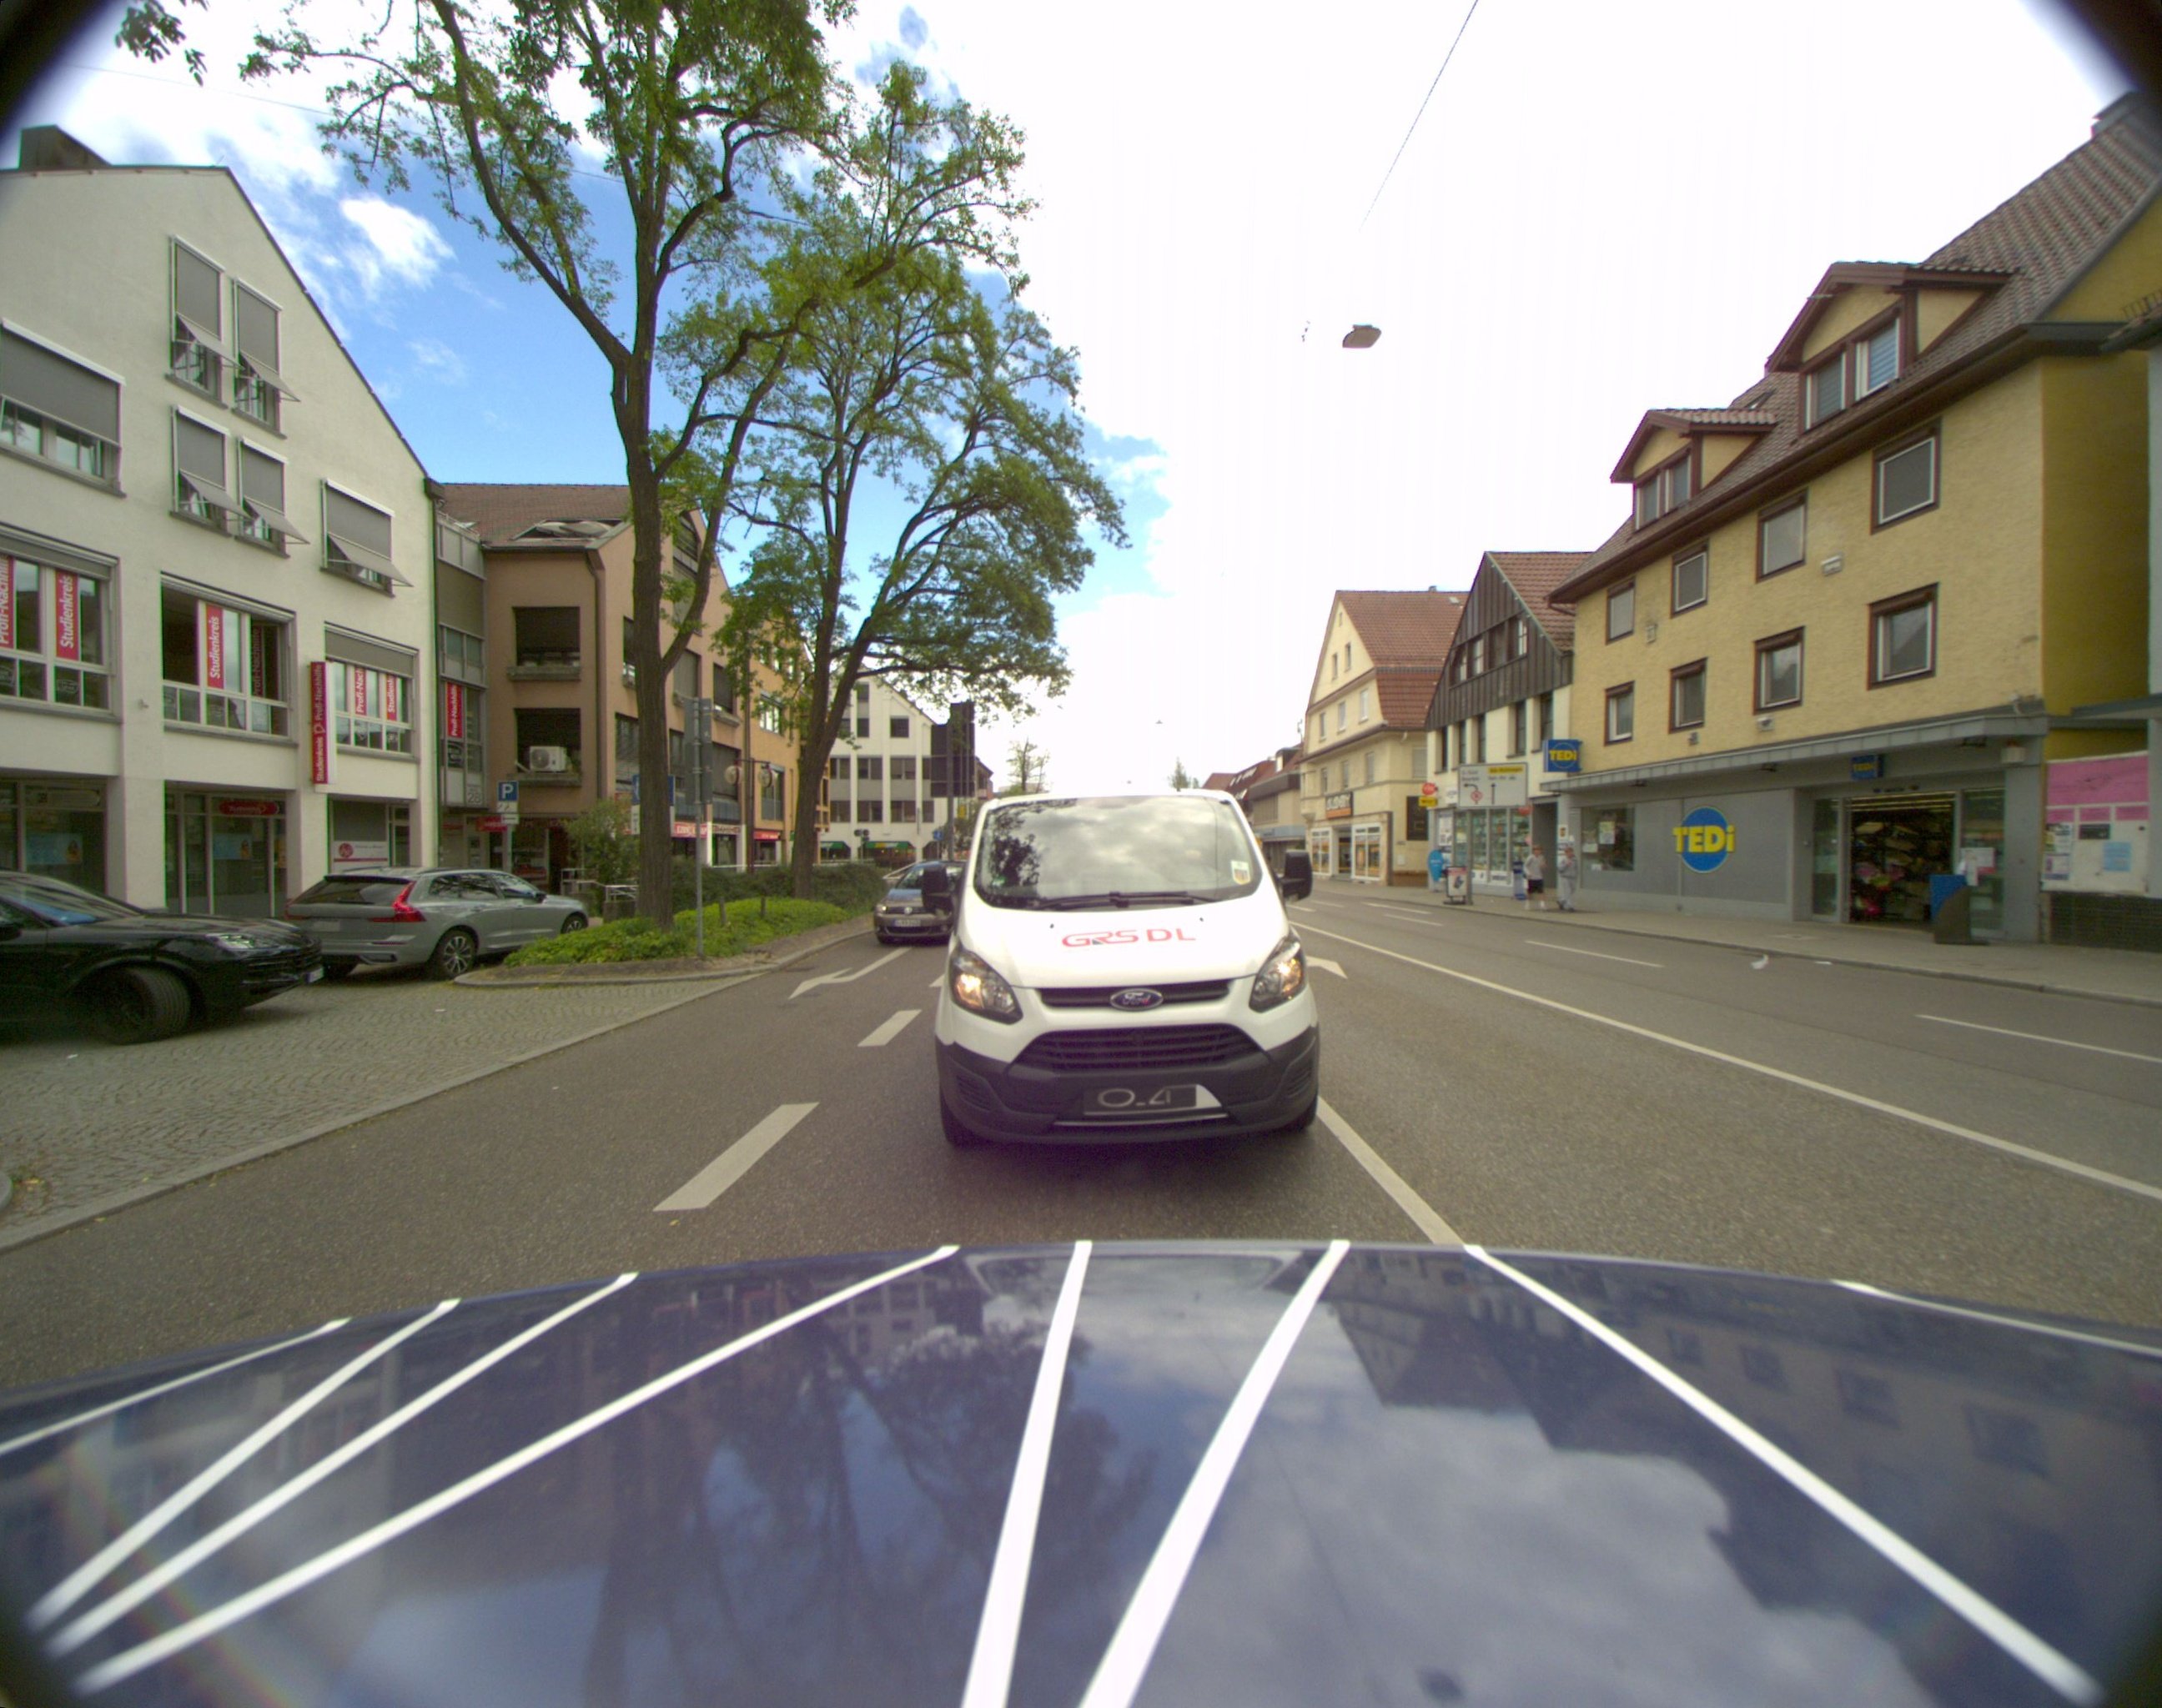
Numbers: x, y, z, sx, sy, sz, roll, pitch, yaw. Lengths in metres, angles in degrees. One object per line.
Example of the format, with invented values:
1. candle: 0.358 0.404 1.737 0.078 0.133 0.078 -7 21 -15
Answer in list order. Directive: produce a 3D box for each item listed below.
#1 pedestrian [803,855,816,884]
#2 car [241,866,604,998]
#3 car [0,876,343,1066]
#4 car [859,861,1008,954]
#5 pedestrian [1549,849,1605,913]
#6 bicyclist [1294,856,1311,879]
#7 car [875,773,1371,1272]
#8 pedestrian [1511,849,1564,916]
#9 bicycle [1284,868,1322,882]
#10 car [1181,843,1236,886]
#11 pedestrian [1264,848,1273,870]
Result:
1. pedestrian: -15.047 0.860 42.174 0.505 1.615 0.493 -1 1 -45
2. car: -10.322 1.095 12.582 1.999 1.645 4.752 1 1 -3
3. car: -10.730 1.075 7.392 4.762 1.669 1.995 1 -1 -32
4. car: -2.770 0.958 15.242 1.801 1.521 4.002 -2 0 6
5. pedestrian: 12.478 0.671 19.148 0.812 1.574 0.920 -1 1 1
6. bicyclist: 14.001 0.846 47.939 0.752 1.415 0.773 -1 1 -13
7. car: 0.211 0.689 5.989 1.940 1.968 5.779 -2 0 1
8. pedestrian: 11.552 0.708 19.260 0.812 1.651 0.920 -1 1 1
9. bicycle: 13.995 1.323 47.942 2.241 0.818 0.773 0 0 -13
10. car: 6.047 0.485 36.510 1.909 1.931 4.526 -1 0 0
11. pedestrian: 16.843 0.444 68.185 0.673 1.891 0.678 0 1 1
